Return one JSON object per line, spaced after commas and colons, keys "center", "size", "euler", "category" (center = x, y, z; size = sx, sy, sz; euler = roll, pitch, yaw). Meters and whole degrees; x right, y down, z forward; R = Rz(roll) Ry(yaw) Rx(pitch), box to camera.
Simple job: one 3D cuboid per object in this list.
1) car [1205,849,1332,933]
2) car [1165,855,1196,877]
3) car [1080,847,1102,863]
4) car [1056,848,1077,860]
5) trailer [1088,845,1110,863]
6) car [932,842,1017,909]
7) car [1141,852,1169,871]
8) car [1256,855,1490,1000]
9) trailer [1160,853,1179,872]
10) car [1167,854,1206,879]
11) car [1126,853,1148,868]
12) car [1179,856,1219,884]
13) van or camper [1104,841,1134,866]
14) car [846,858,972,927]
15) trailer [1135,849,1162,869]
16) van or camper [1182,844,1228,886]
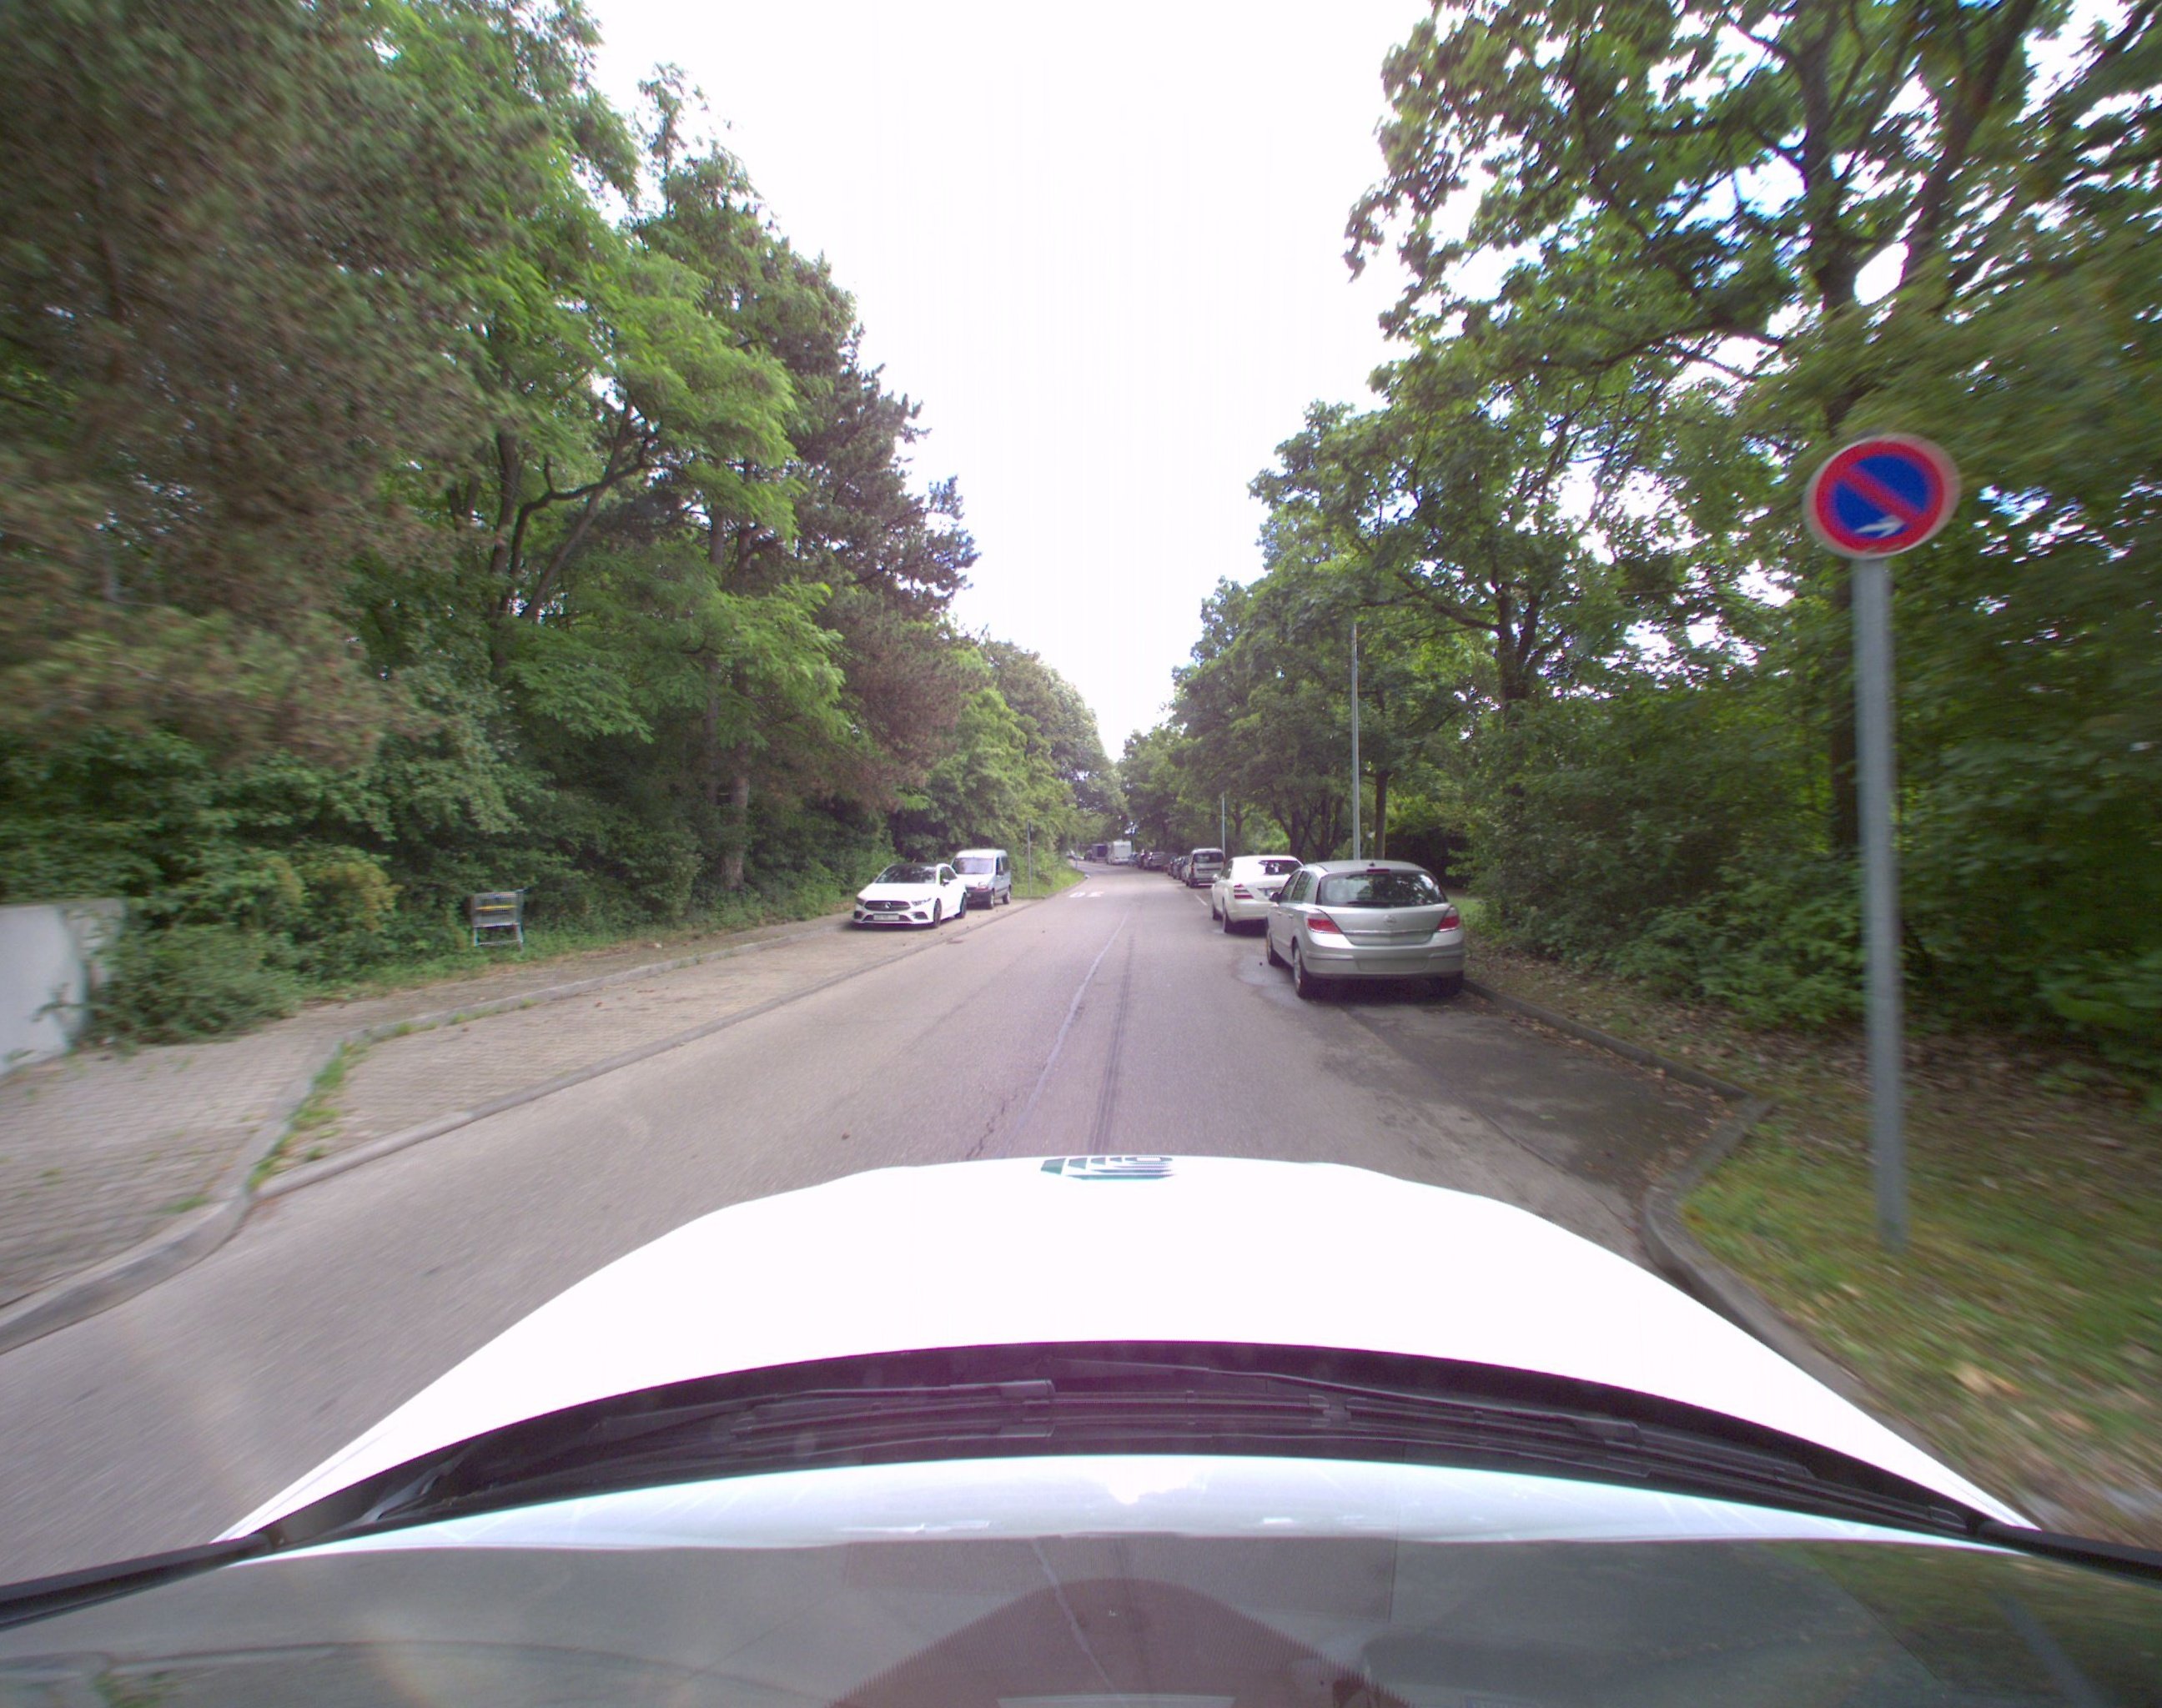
{"center": [3.835, 0.689, 17.544], "size": [1.877, 1.507, 5.182], "euler": [-1, 0, 4], "category": "car"}
{"center": [7.050, 0.826, 58.044], "size": [1.715, 1.453, 3.917], "euler": [-1, 0, 0], "category": "car"}
{"center": [1.383, 0.111, 117.144], "size": [1.998, 2.025, 3.978], "euler": [-4, 3, -16], "category": "car"}
{"center": [-2.285, -0.076, 129.995], "size": [2.042, 1.803, 4.054], "euler": [-2, 1, -21], "category": "car"}
{"center": [2.481, 0.003, 111.760], "size": [1.997, 2.398, 3.979], "euler": [-1, 0, -15], "category": "trailer"}
{"center": [-3.297, 0.599, 25.950], "size": [1.712, 1.921, 4.112], "euler": [1, 1, 6], "category": "car"}
{"center": [6.756, 0.697, 74.974], "size": [1.789, 1.670, 4.494], "euler": [-1, -1, -5], "category": "car"}
{"center": [3.326, 0.743, 10.108], "size": [1.784, 1.411, 4.066], "euler": [-1, 0, 6], "category": "car"}
{"center": [7.461, 0.718, 68.752], "size": [1.274, 1.585, 2.460], "euler": [-1, 0, 0], "category": "trailer"}
{"center": [6.583, 0.772, 51.254], "size": [1.842, 1.474, 4.477], "euler": [-1, 0, -1], "category": "car"}
{"center": [6.231, 0.671, 90.642], "size": [1.797, 1.562, 3.828], "euler": [-2, 1, -6], "category": "car"}
{"center": [6.408, 0.858, 44.697], "size": [1.805, 1.437, 4.246], "euler": [0, 0, 3], "category": "car"}
{"center": [4.689, -0.040, 101.148], "size": [2.480, 2.876, 6.871], "euler": [-1, 0, -8], "category": "van or camper"}
{"center": [-3.922, 0.817, 19.363], "size": [1.798, 1.403, 4.376], "euler": [1, 0, 4], "category": "car"}
{"center": [6.681, 0.438, 81.443], "size": [1.974, 1.811, 5.143], "euler": [-2, 1, -3], "category": "trailer"}
{"center": [5.870, 0.553, 38.901], "size": [1.794, 1.838, 4.324], "euler": [-1, -2, 4], "category": "van or camper"}
